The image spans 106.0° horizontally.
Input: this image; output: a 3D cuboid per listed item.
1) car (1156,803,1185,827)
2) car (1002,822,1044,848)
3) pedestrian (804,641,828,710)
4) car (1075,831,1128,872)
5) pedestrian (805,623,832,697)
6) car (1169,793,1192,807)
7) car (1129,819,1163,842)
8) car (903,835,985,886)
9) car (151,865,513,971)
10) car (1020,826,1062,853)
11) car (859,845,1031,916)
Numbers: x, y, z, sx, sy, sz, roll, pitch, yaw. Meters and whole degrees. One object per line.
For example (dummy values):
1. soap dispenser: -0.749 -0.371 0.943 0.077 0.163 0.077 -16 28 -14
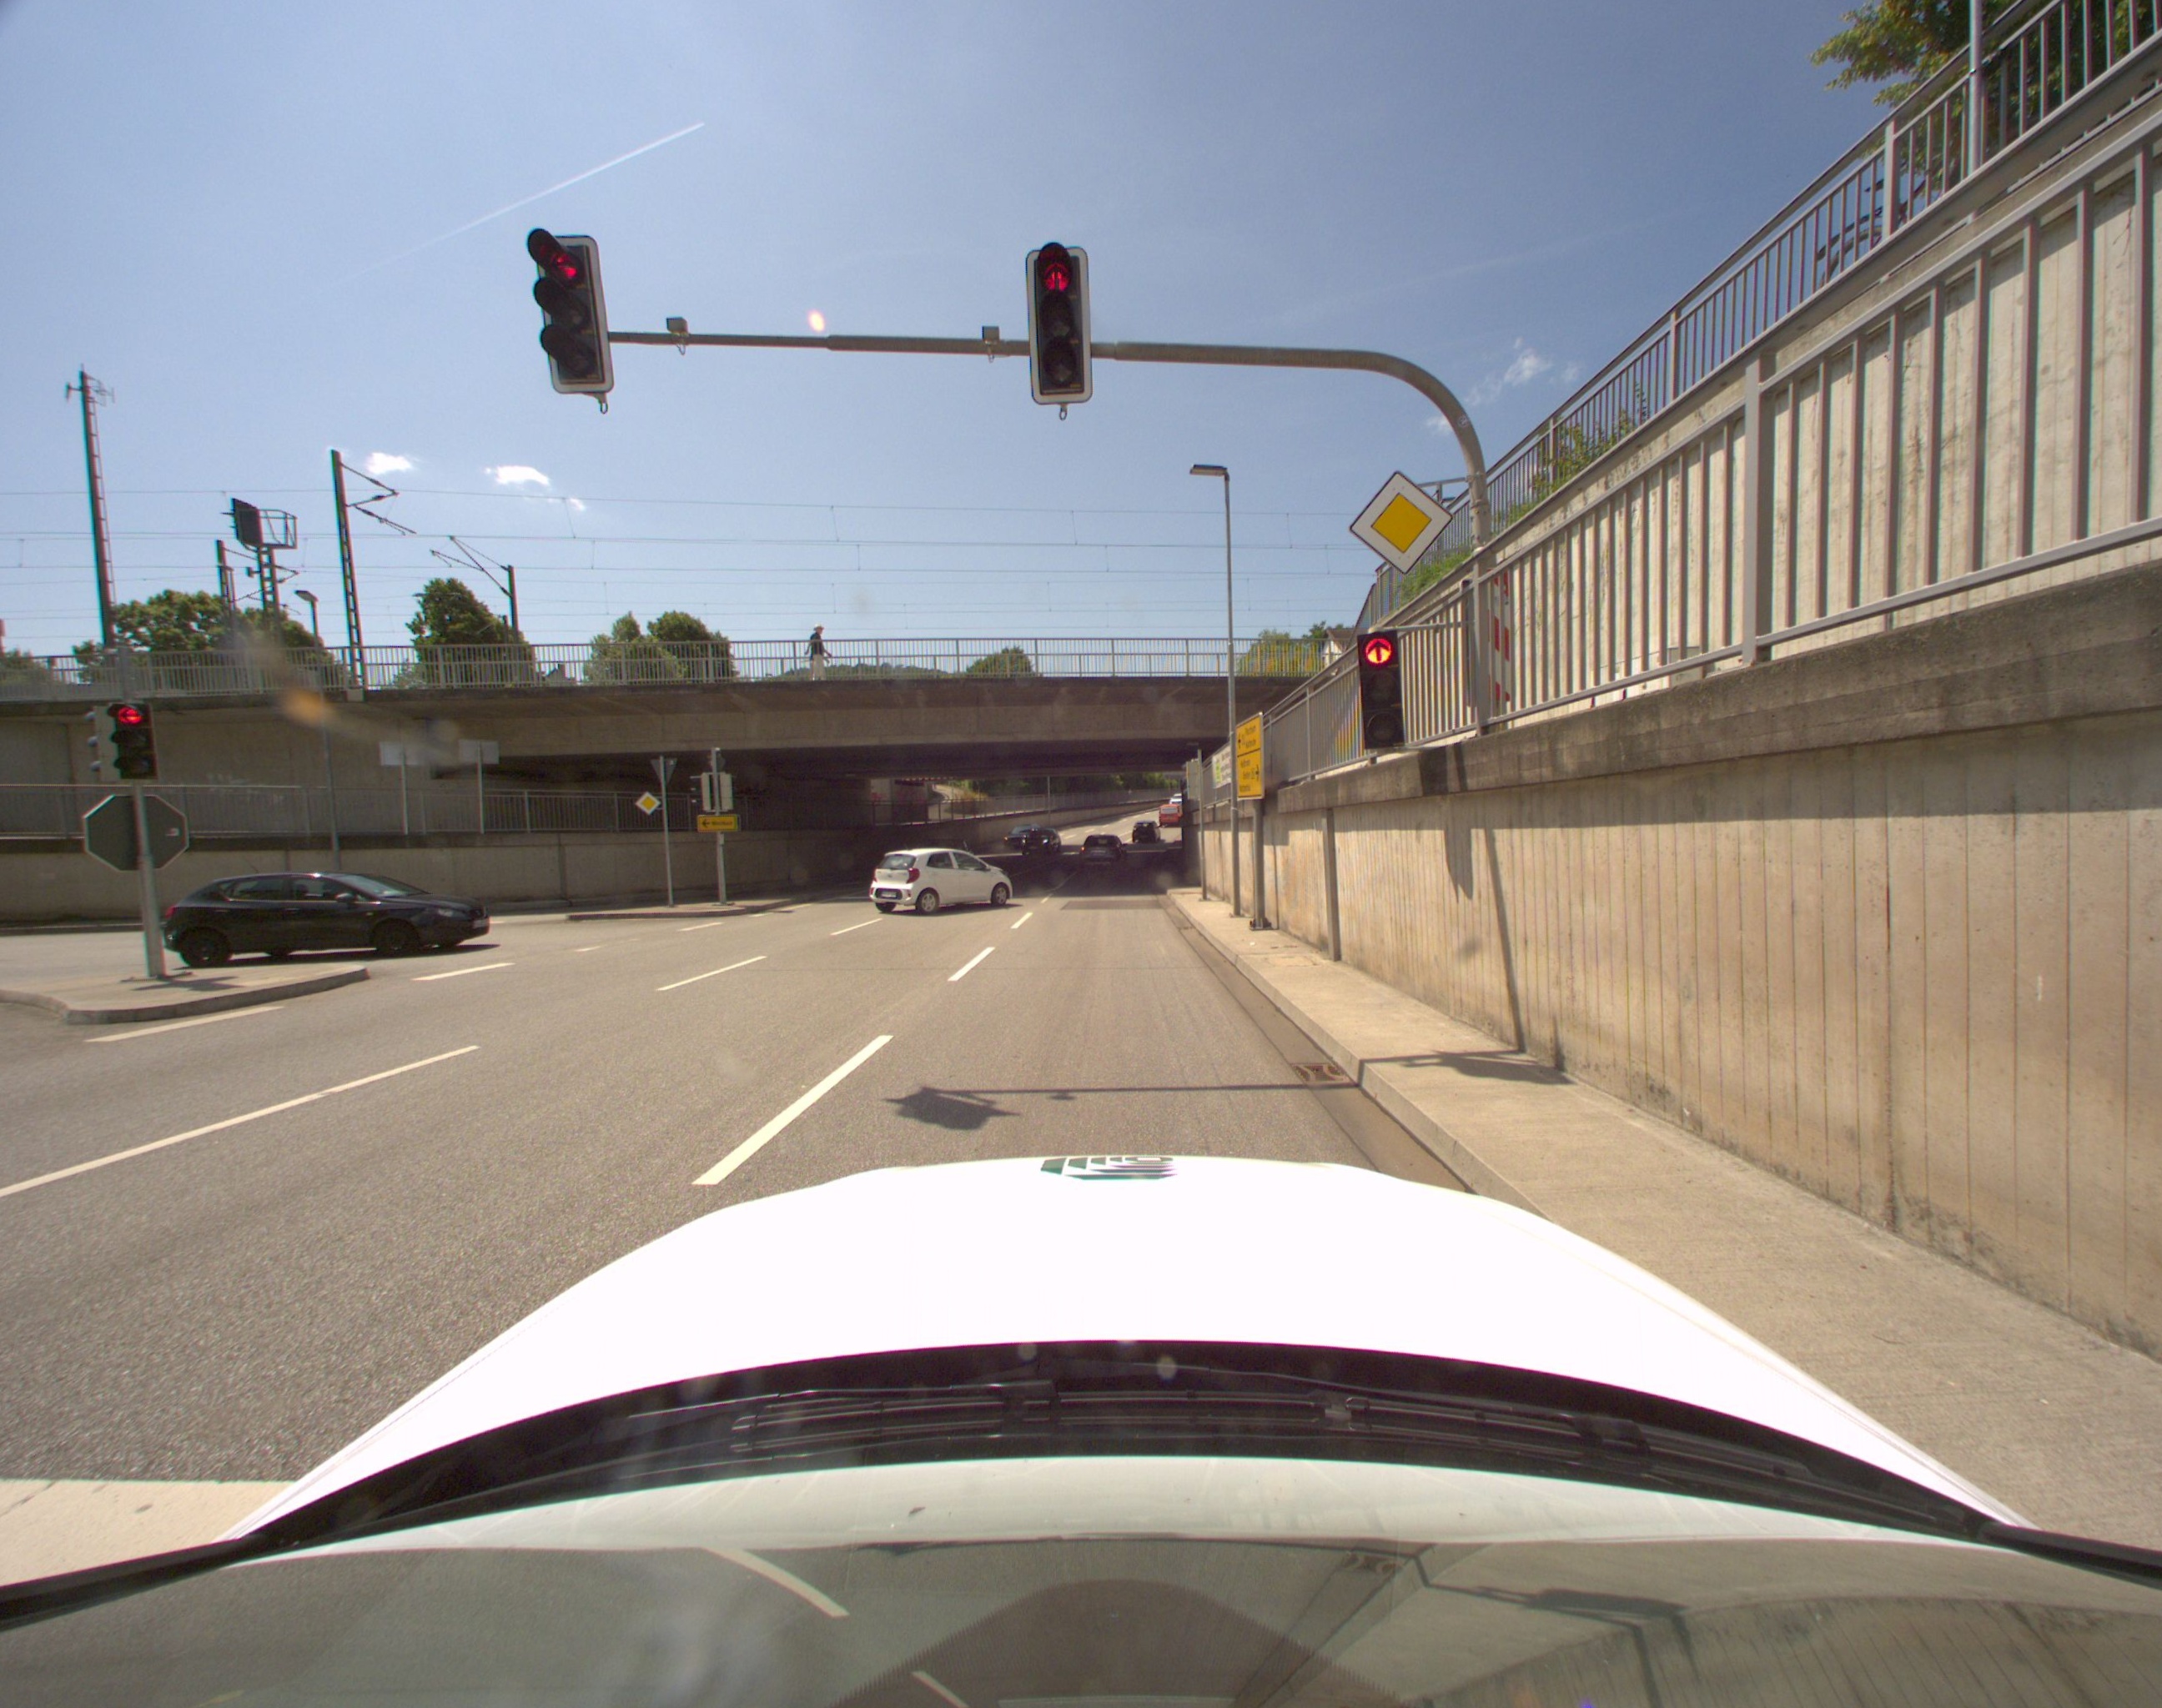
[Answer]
1. car: 7.903 -3.405 71.272 1.859 1.932 4.739 -1 2 14
2. car: -3.824 -1.277 54.316 1.983 1.588 4.009 -1 2 7
3. pedestrian: -8.532 -5.730 26.199 0.538 2.081 0.534 -2 0 -5
4. car: 0.942 -0.145 35.236 1.984 1.588 4.007 -1 2 5
5. pedestrian: -7.909 -5.843 24.535 0.574 2.081 0.534 -2 0 -3
6. car: 12.355 -6.701 100.797 1.977 1.588 4.021 0 5 19
7. car: 4.571 -1.665 56.836 1.982 1.507 4.011 -1 2 9
8. car: -4.902 0.163 29.774 1.984 1.627 4.006 -1 2 4
9. car: -12.117 0.973 13.506 3.992 1.374 1.760 -2 2 -13
10. car: -2.322 -0.879 48.214 1.772 1.436 4.009 -1 2 7
11. car: -3.250 0.562 20.109 1.709 1.419 4.026 0 3 39
